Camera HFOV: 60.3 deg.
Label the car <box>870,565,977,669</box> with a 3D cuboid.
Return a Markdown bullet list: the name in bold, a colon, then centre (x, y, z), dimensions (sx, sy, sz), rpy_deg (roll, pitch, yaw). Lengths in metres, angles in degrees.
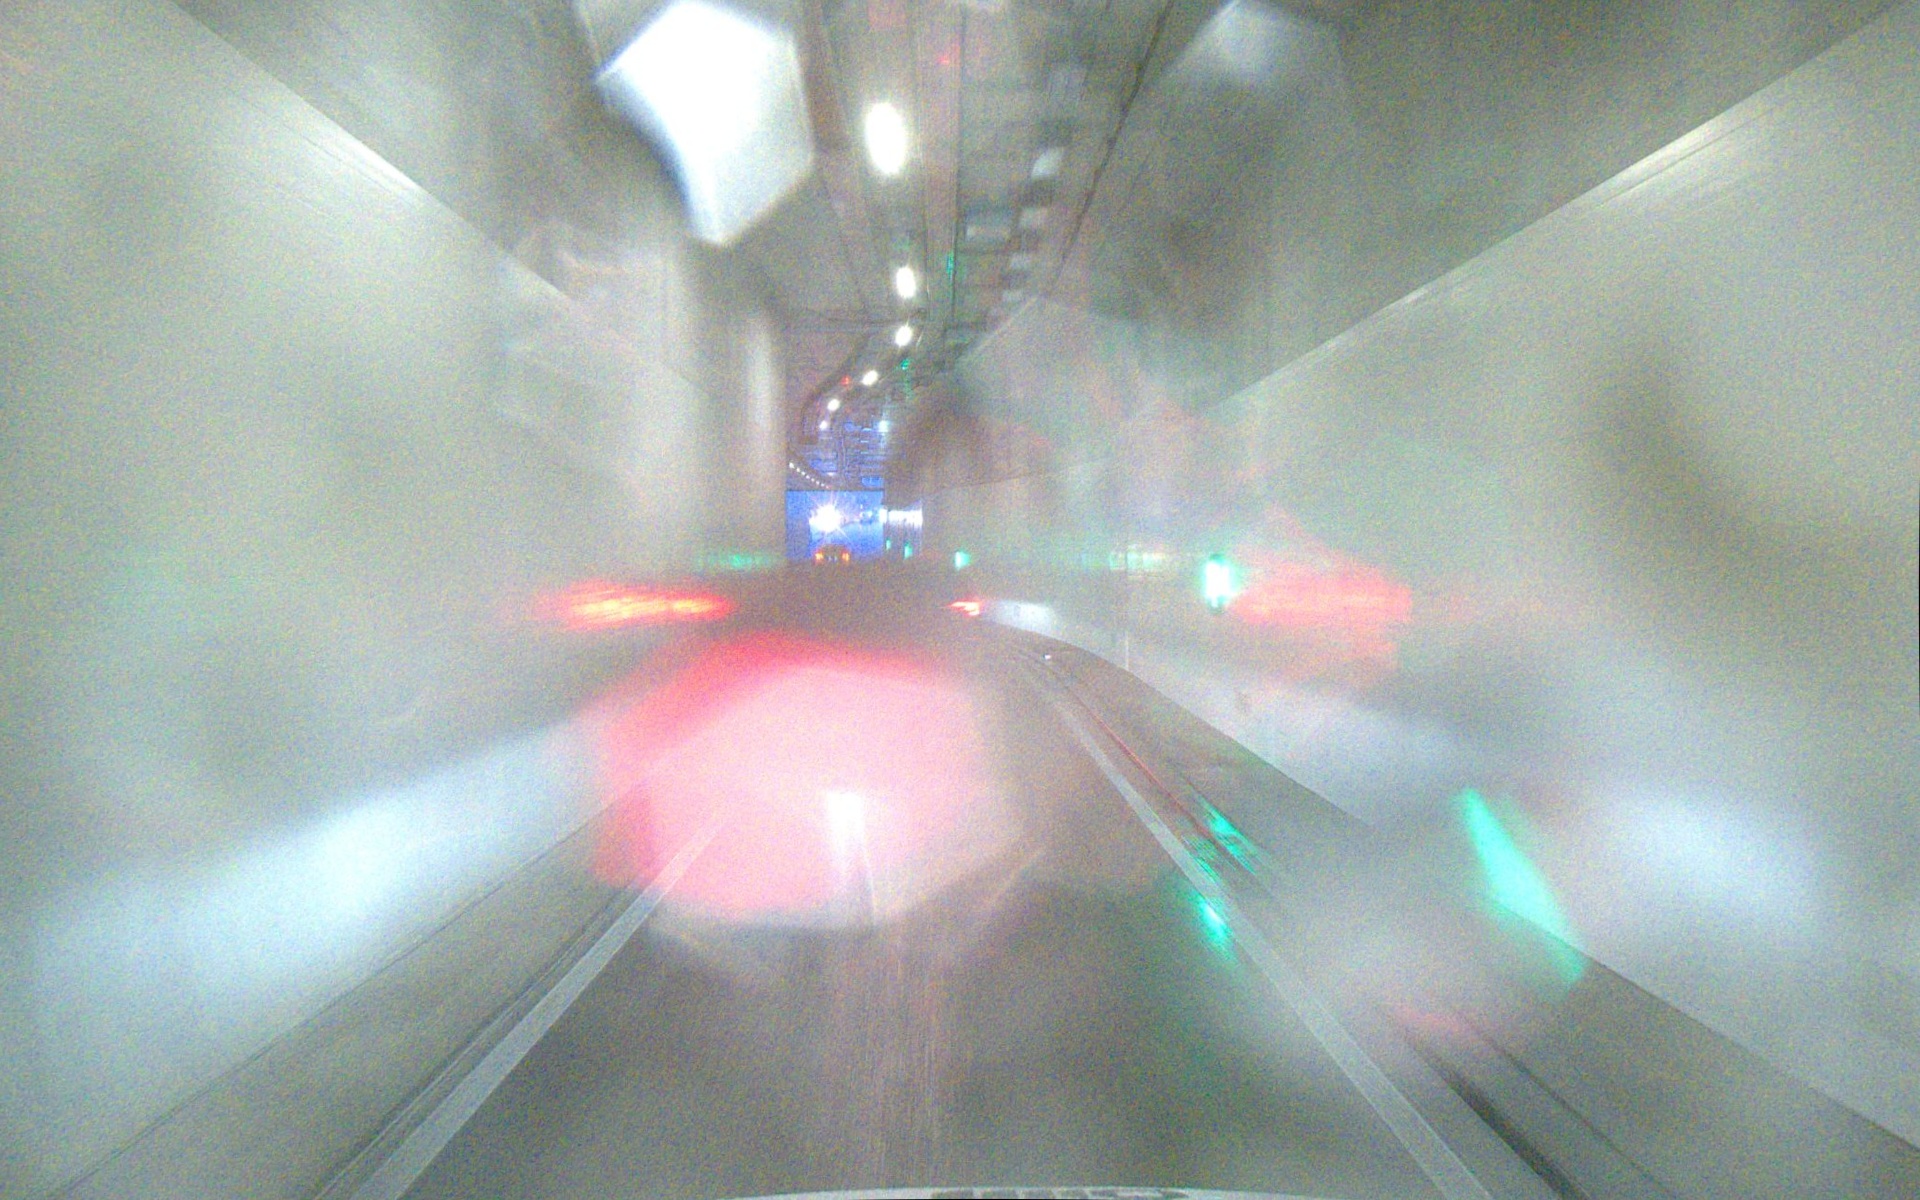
- **car**: centre (-0.593, 0.211, 25.214), dimensions (1.501, 1.421, 3.432), rpy_deg (1, 2, -3)

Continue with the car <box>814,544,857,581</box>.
- **car**: centre (-5.886, -1.745, 77.777), dimensions (1.844, 1.649, 3.995), rpy_deg (1, 1, -6)
